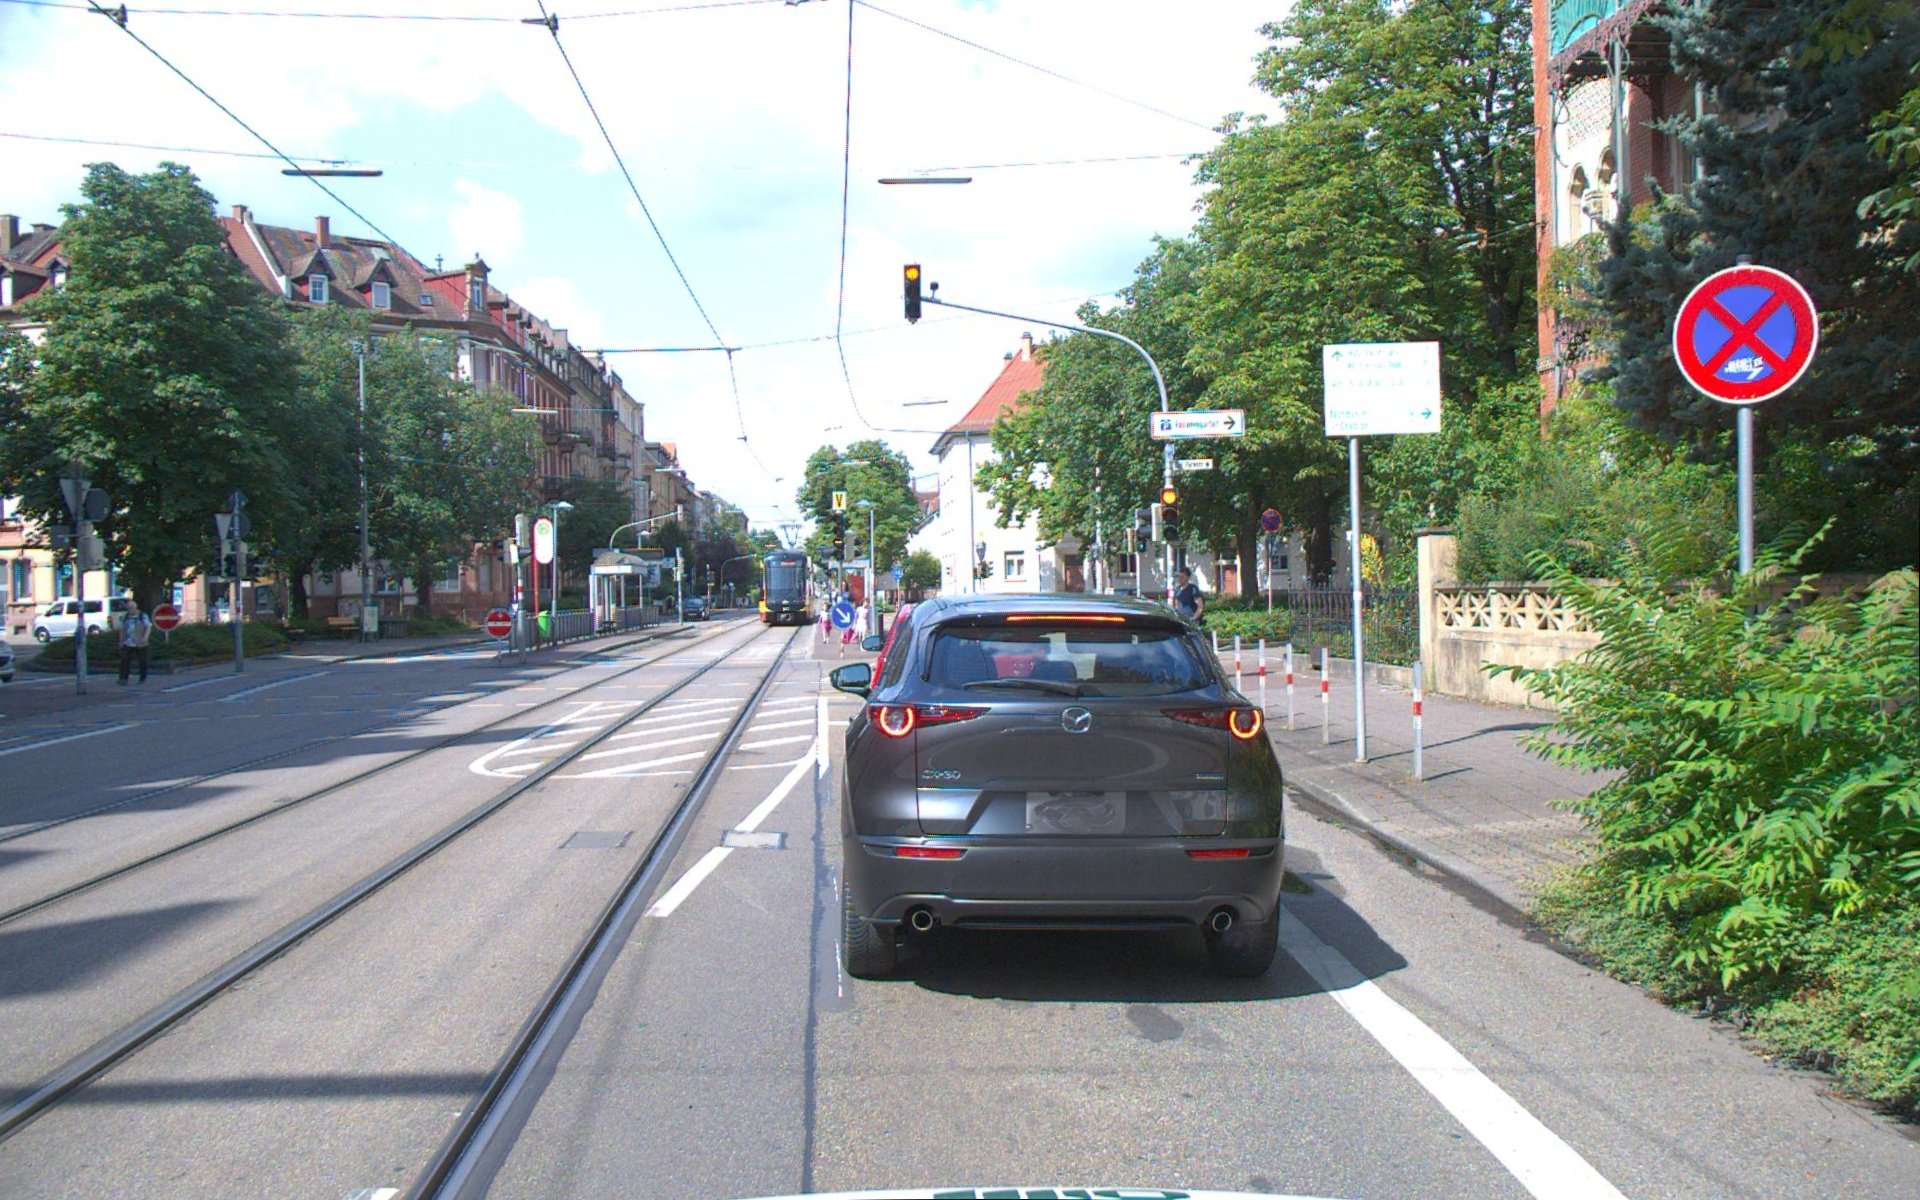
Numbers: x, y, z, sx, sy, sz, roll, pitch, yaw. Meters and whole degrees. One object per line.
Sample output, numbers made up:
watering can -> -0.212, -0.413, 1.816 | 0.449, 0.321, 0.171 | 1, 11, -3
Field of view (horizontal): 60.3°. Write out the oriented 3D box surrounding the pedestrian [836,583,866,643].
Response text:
pedestrian -> -2.948, 0.341, 44.635 | 0.714, 1.593, 0.797 | -1, 0, -9

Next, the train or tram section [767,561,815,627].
train or tram section -> -11.281, -0.301, 111.675 | 2.939, 4.053, 13.793 | -1, -1, -5

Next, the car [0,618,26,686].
car -> -22.460, 1.170, 36.735 | 3.800, 1.445, 1.713 | -1, 0, 39

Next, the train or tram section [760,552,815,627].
train or tram section -> -10.094, -0.481, 97.960 | 2.939, 4.053, 13.793 | -1, -1, -5

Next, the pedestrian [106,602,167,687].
pedestrian -> -16.869, 0.907, 33.899 | 0.837, 1.702, 0.821 | -1, 0, -3

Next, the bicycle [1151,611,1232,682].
bicycle -> 3.796, 0.745, 27.006 | 0.382, 1.053, 1.836 | -1, 1, 39

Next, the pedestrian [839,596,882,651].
pedestrian -> -2.539, 0.599, 42.023 | 0.815, 1.326, 0.711 | -3, 0, -26

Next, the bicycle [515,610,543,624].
bicycle -> -24.039, 0.946, 92.209 | 0.378, 0.760, 1.707 | -1, 0, 31

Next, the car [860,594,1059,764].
car -> -0.095, 0.694, 16.479 | 1.740, 1.489, 3.840 | 0, 0, -3

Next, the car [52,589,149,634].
car -> -39.951, 0.520, 76.911 | 3.853, 2.023, 1.857 | -1, 0, 19

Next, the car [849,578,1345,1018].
car -> 0.473, 0.711, 7.880 | 1.746, 1.540, 3.999 | 1, 0, -1

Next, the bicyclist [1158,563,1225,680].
bicyclist -> 3.759, 0.338, 26.920 | 0.724, 1.851, 0.813 | -1, 0, -27

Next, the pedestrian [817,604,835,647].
pedestrian -> -3.640, 0.693, 44.812 | 0.414, 1.127, 0.438 | -3, 0, -6

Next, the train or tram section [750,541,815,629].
train or tram section -> -8.901, -0.641, 84.206 | 2.939, 4.053, 13.793 | -1, -1, -5

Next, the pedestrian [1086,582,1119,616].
pedestrian -> 5.687, -0.043, 65.971 | 1.170, 1.291, 0.556 | -3, 0, -10

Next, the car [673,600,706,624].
car -> -16.691, 0.729, 102.241 | 1.592, 1.411, 3.433 | -3, 1, -4

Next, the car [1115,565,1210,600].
car -> 9.610, -0.813, 78.653 | 4.091, 1.536, 1.844 | -1, 2, 38

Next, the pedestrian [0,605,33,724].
pedestrian -> -14.593, 0.945, 24.887 | 0.741, 1.734, 0.873 | 3, 0, -5
